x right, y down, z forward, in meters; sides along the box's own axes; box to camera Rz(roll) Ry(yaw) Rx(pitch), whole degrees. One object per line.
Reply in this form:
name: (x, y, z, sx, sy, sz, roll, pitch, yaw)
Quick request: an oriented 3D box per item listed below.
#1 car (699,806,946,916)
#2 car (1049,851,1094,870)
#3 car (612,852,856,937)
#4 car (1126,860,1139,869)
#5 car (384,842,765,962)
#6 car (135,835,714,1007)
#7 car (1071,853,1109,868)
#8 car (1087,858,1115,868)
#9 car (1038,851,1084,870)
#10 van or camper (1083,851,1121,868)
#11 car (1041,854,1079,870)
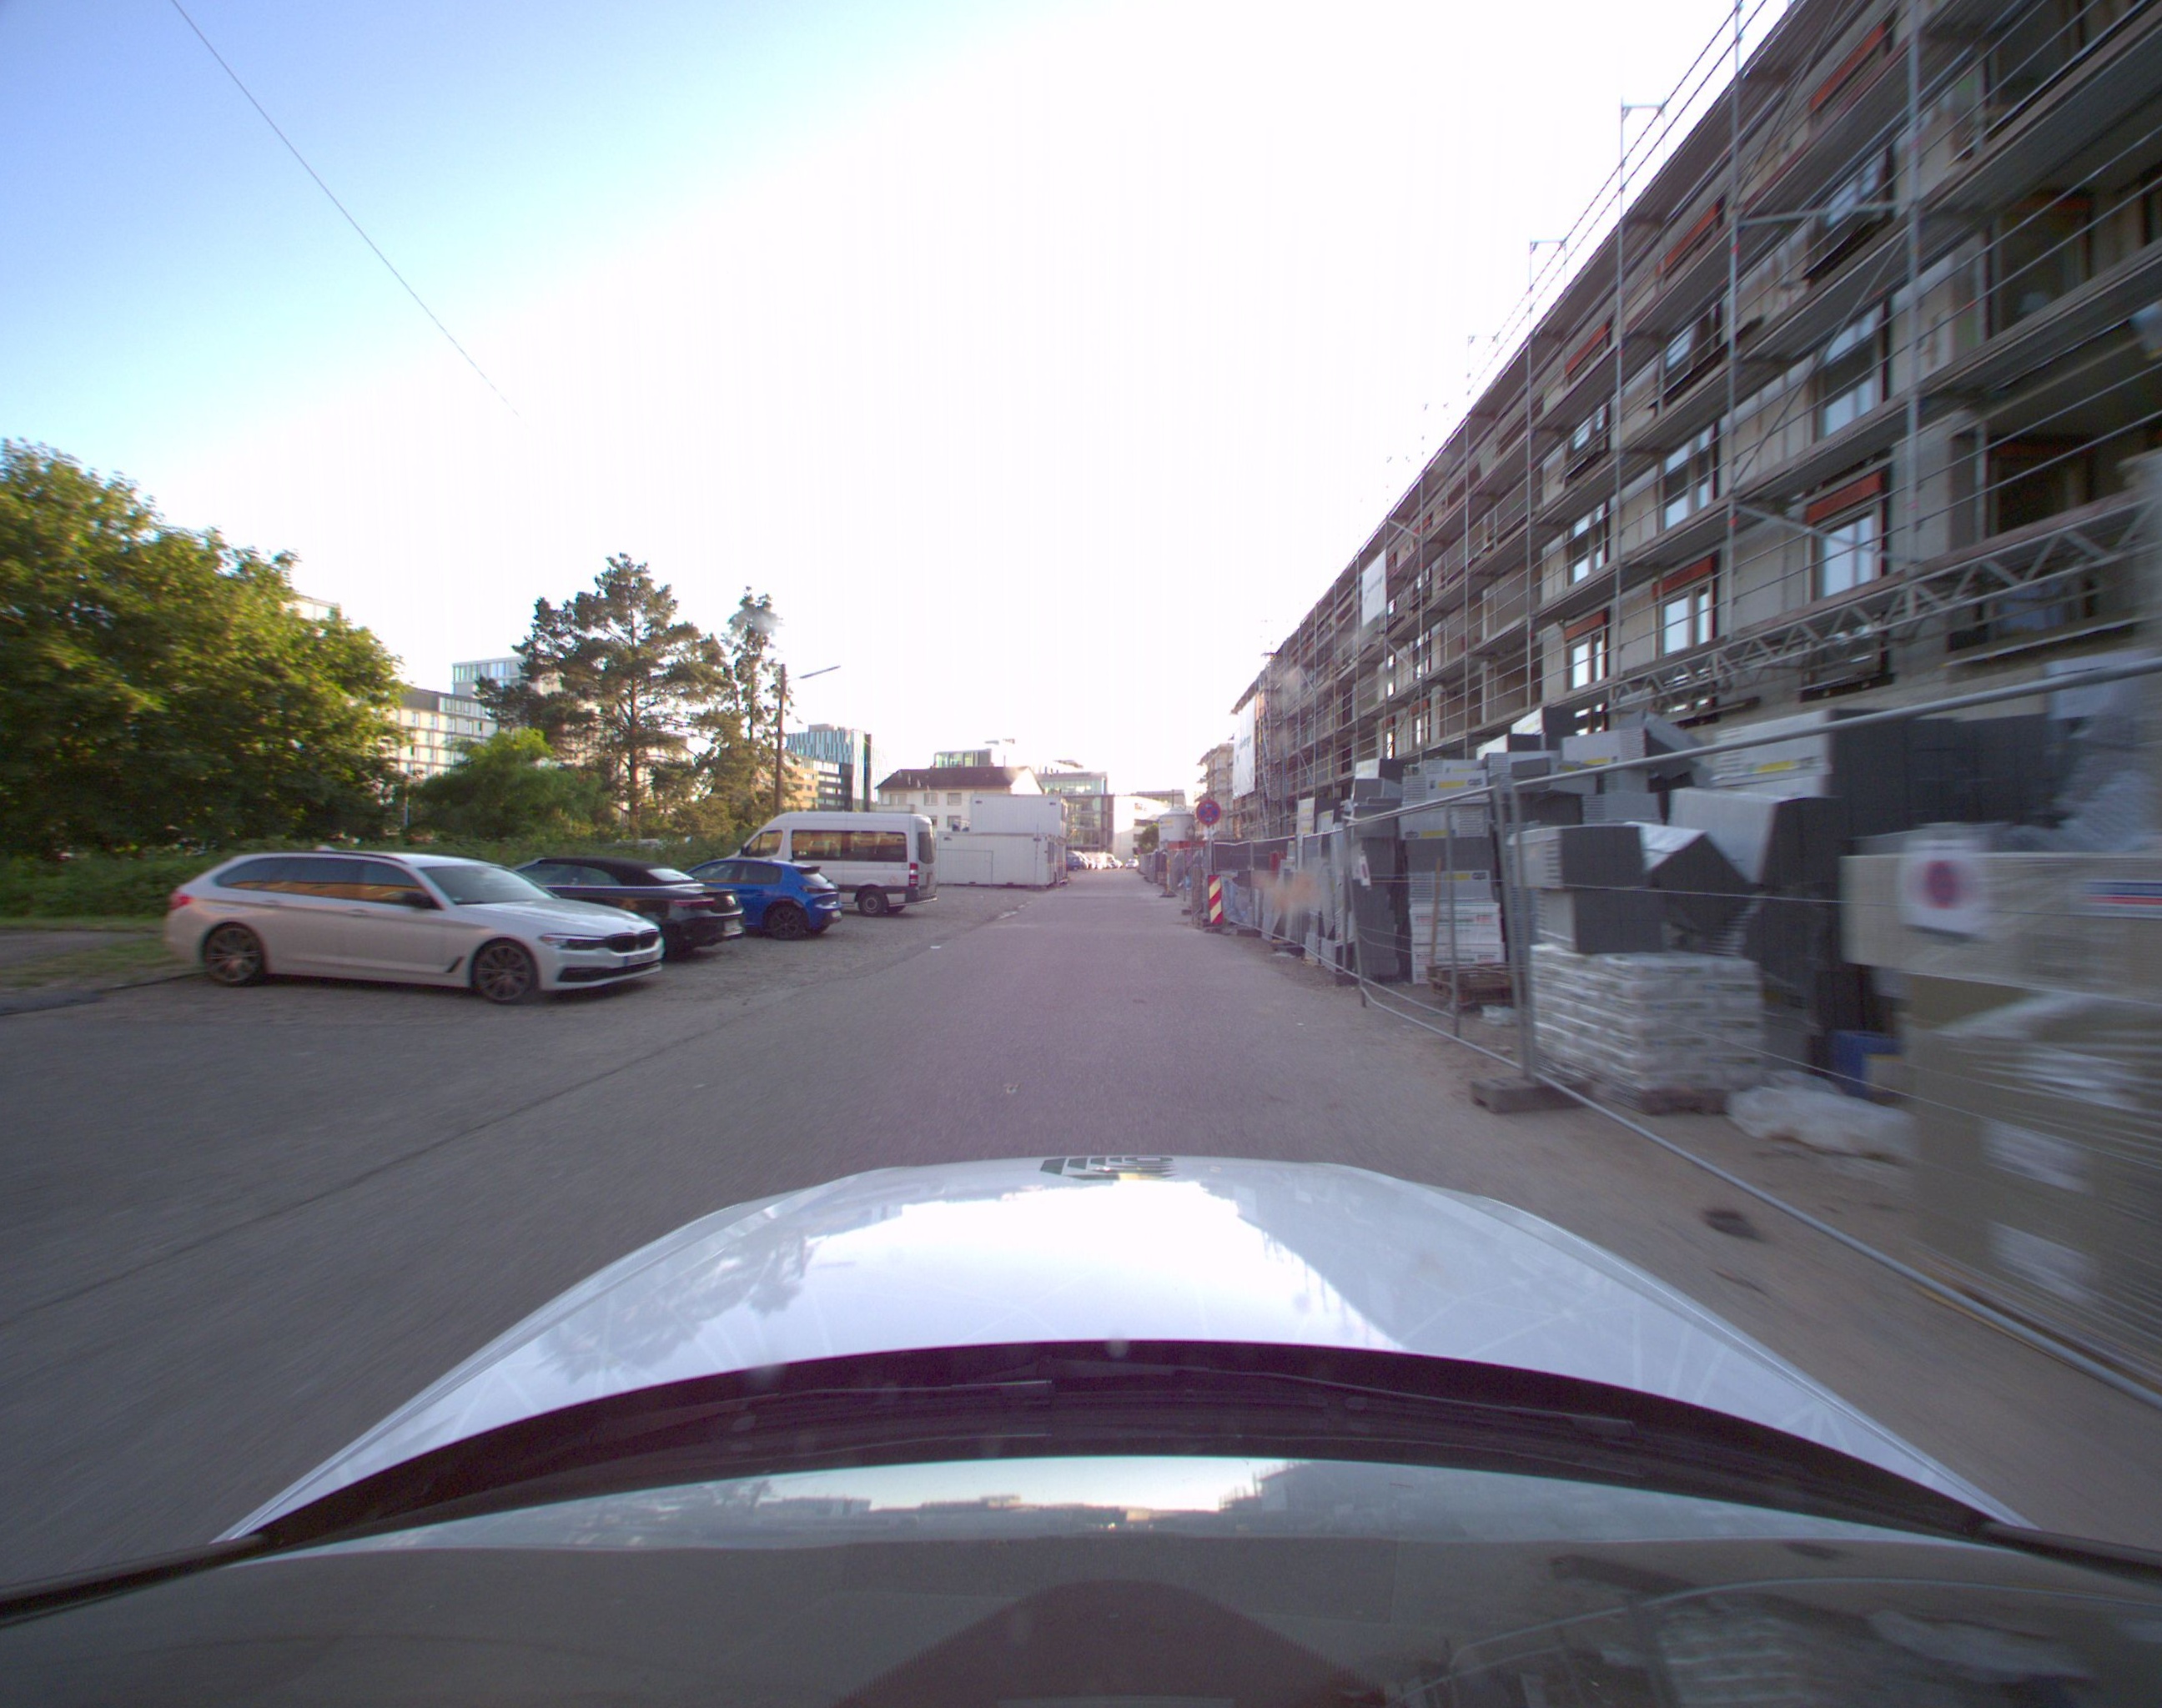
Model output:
car: (-6.640, 0.192, 21.391, 5.663, 2.626, 2.224, 1, -1, 4)
car: (-1.331, 0.970, 116.787, 6.302, 2.741, 2.001, 0, -1, 3)
car: (-6.445, 0.746, 15.449, 3.824, 1.429, 1.727, 1, -1, 0)
car: (8.740, 1.731, 138.495, 1.654, 1.529, 3.921, 0, -1, 11)
car: (-7.202, 0.670, 11.941, 4.403, 1.544, 1.727, 1, -1, -1)
car: (-7.237, 0.688, 9.378, 4.971, 1.544, 2.118, 2, -1, 4)
car: (1.481, 1.043, 131.953, 5.882, 2.490, 2.007, 0, -1, 13)
car: (3.499, 1.587, 139.995, 4.474, 1.648, 2.006, 0, -1, 11)
car: (-2.768, 0.939, 113.065, 6.302, 2.651, 2.001, 0, -1, 3)
van or camper: (3.750, 0.947, 145.749, 6.286, 2.979, 2.301, 0, -1, 15)
car: (-2.556, 1.000, 98.998, 4.494, 1.869, 1.998, 0, -1, -3)
